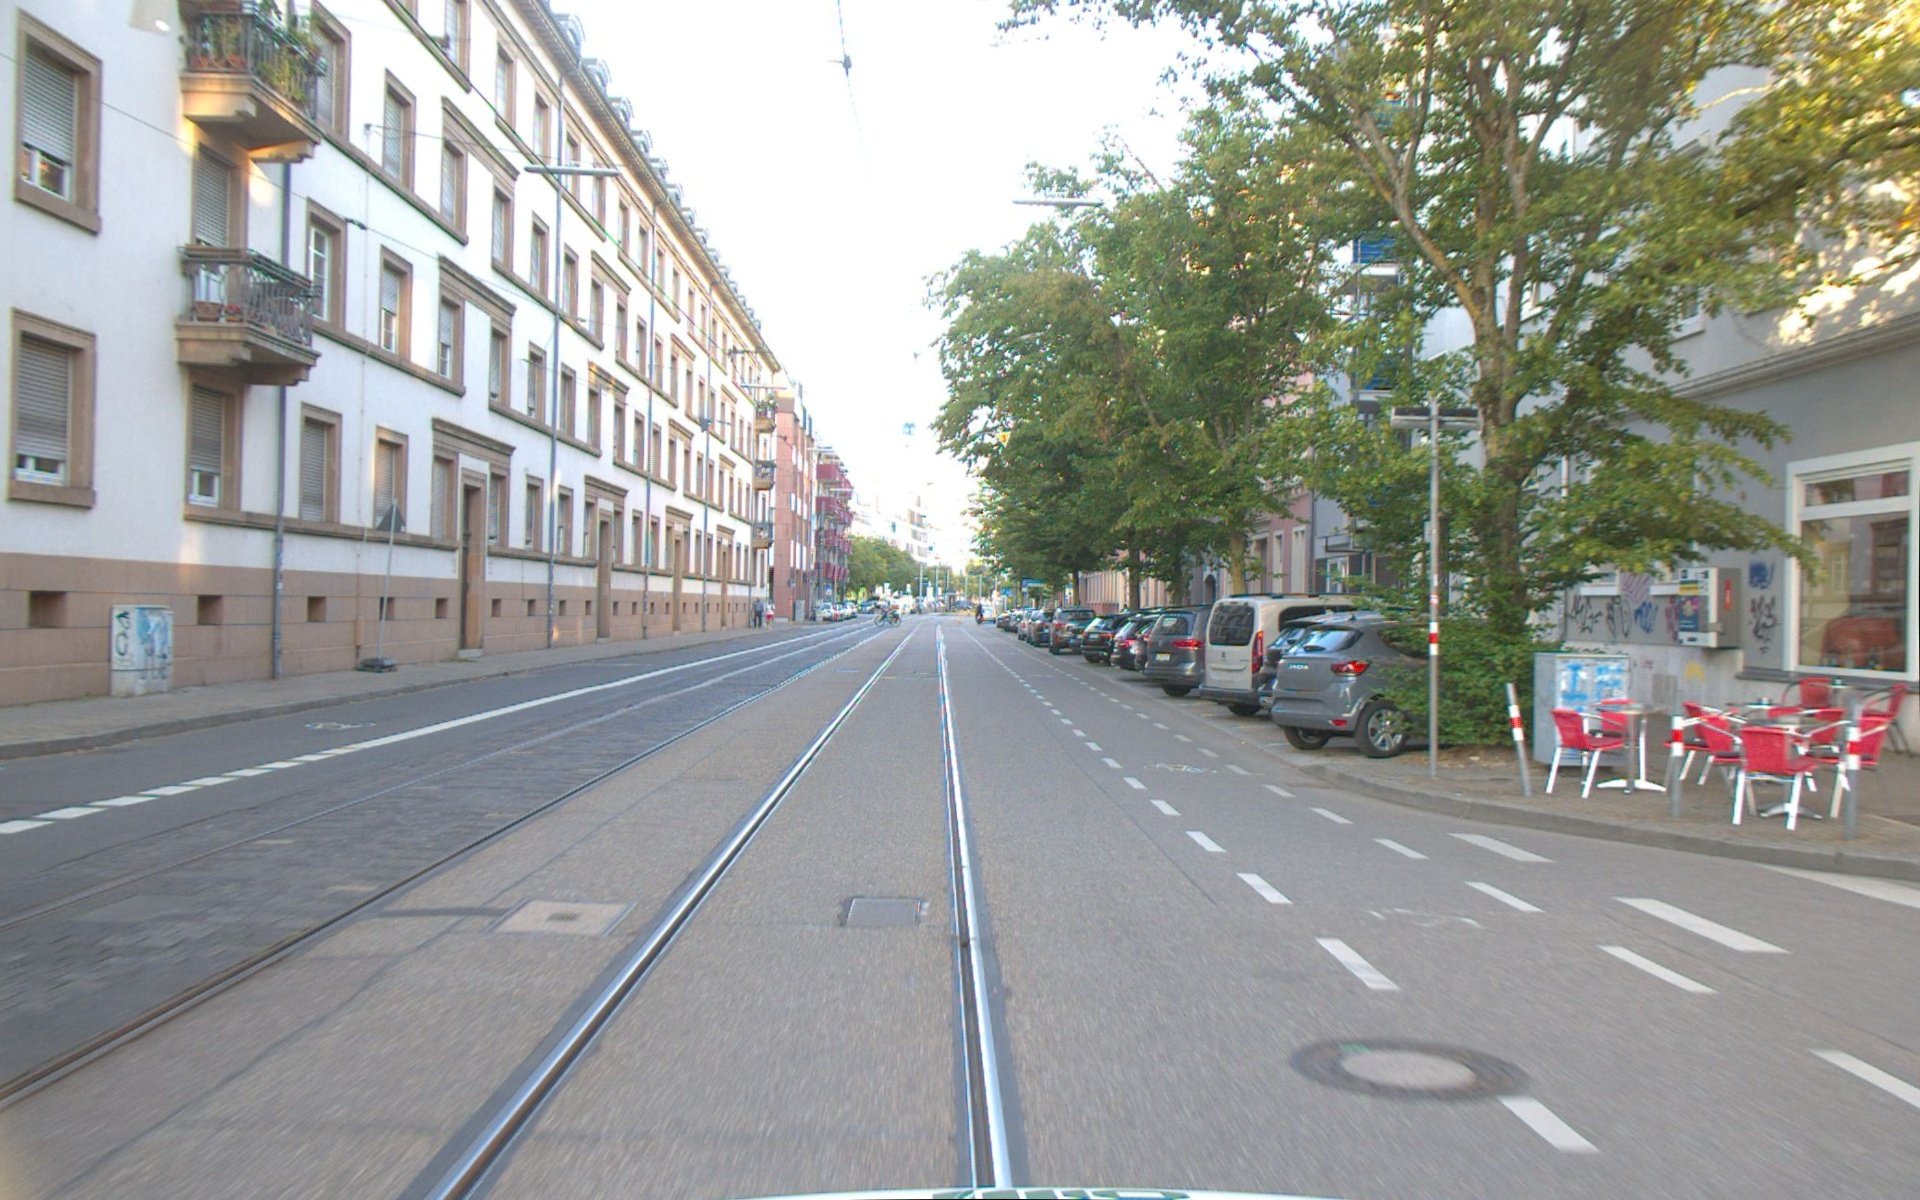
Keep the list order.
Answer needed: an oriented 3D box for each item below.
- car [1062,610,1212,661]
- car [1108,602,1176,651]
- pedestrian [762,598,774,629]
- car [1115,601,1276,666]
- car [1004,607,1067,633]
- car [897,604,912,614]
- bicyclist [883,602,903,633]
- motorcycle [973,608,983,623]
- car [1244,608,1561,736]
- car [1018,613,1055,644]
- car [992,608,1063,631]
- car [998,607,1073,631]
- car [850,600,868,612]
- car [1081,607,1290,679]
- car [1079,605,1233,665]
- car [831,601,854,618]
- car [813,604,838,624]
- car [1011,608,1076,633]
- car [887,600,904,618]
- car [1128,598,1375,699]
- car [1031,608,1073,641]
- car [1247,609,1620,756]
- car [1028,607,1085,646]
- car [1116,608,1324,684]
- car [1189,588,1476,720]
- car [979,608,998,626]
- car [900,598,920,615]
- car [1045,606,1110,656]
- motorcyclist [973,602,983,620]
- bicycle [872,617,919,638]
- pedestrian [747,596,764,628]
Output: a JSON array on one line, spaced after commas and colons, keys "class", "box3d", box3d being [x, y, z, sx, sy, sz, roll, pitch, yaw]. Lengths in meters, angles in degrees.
[{"class": "car", "box3d": [5.204, 1.055, 48.600, 4.198, 1.412, 1.607, 1, 0, -27]}, {"class": "car", "box3d": [6.367, 0.906, 58.165, 1.841, 1.612, 4.019, 1, 0, -1]}, {"class": "pedestrian", "box3d": [-10.316, 0.718, 88.955, 0.579, 1.638, 0.811, 1, -1, -3]}, {"class": "car", "box3d": [6.262, 0.871, 43.965, 3.932, 1.621, 1.708, 0, 1, -22]}, {"class": "car", "box3d": [4.586, 1.185, 100.485, 3.511, 1.543, 1.729, 0, 0, -26]}, {"class": "car", "box3d": [-7.936, 1.291, 237.043, 1.647, 1.464, 4.129, 1, 0, 6]}, {"class": "bicyclist", "box3d": [-4.550, 1.168, 112.701, 1.191, 2.049, 0.945, 2, 0, -9]}, {"class": "motorcycle", "box3d": [1.556, 1.319, 142.771, 0.811, 1.261, 2.492, 1, 0, 3]}, {"class": "car", "box3d": [5.995, 0.951, 22.426, 3.932, 1.594, 1.708, 1, 0, -23]}, {"class": "car", "box3d": [3.698, 1.366, 80.398, 1.586, 1.405, 3.775, -1, 0, -1]}, {"class": "car", "box3d": [4.581, 1.301, 111.614, 4.547, 1.483, 1.697, -1, 0, -26]}, {"class": "car", "box3d": [4.838, 1.196, 105.656, 4.386, 1.543, 2.048, 0, 0, -24]}, {"class": "car", "box3d": [-14.281, 0.842, 234.380, 1.647, 1.729, 4.242, 1, 0, 8]}, {"class": "car", "box3d": [4.972, 0.918, 36.507, 4.310, 1.489, 1.711, 0, 0, -19]}, {"class": "car", "box3d": [5.404, 0.940, 45.694, 3.900, 1.580, 1.711, 0, 1, -19]}, {"class": "car", "box3d": [-10.932, 0.879, 154.356, 1.656, 1.438, 4.677, 3, 0, 1]}, {"class": "car", "box3d": [-10.920, 1.132, 134.533, 1.682, 1.583, 4.203, 2, 0, 0]}, {"class": "car", "box3d": [4.916, 1.211, 97.816, 3.511, 1.454, 1.655, 0, 0, -26]}, {"class": "car", "box3d": [-6.054, 0.839, 154.833, 1.528, 1.585, 3.752, 0, 0, -4]}, {"class": "car", "box3d": [5.304, 0.833, 30.129, 4.120, 1.726, 1.835, 0, 0, -22]}, {"class": "car", "box3d": [4.117, 1.088, 74.733, 1.743, 1.405, 4.691, -1, 0, 1]}, {"class": "car", "box3d": [5.531, 0.935, 19.370, 3.928, 1.567, 1.769, 1, 0, -21]}, {"class": "car", "box3d": [3.881, 1.052, 67.218, 1.953, 1.515, 5.035, 0, 0, 0]}, {"class": "car", "box3d": [5.367, 0.918, 34.203, 3.926, 1.489, 1.711, 0, 0, -19]}, {"class": "car", "box3d": [5.614, 0.750, 24.974, 3.932, 1.847, 1.812, 0, 0, -23]}, {"class": "car", "box3d": [2.670, 1.549, 155.030, 1.681, 1.583, 4.204, 2, 0, 1]}, {"class": "car", "box3d": [-7.322, 0.950, 242.619, 2.409, 2.526, 5.810, 1, 0, 3]}, {"class": "car", "box3d": [4.066, 1.061, 57.916, 1.841, 1.646, 4.261, -1, 0, -1]}, {"class": "motorcyclist", "box3d": [1.559, 0.962, 142.760, 0.811, 1.499, 1.207, 1, 0, 3]}, {"class": "bicycle", "box3d": [-4.415, 1.894, 112.720, 3.112, 1.378, 0.955, 1, -1, -10]}, {"class": "pedestrian", "box3d": [-11.000, 0.640, 89.086, 0.779, 1.731, 0.981, 1, -1, -3]}]
